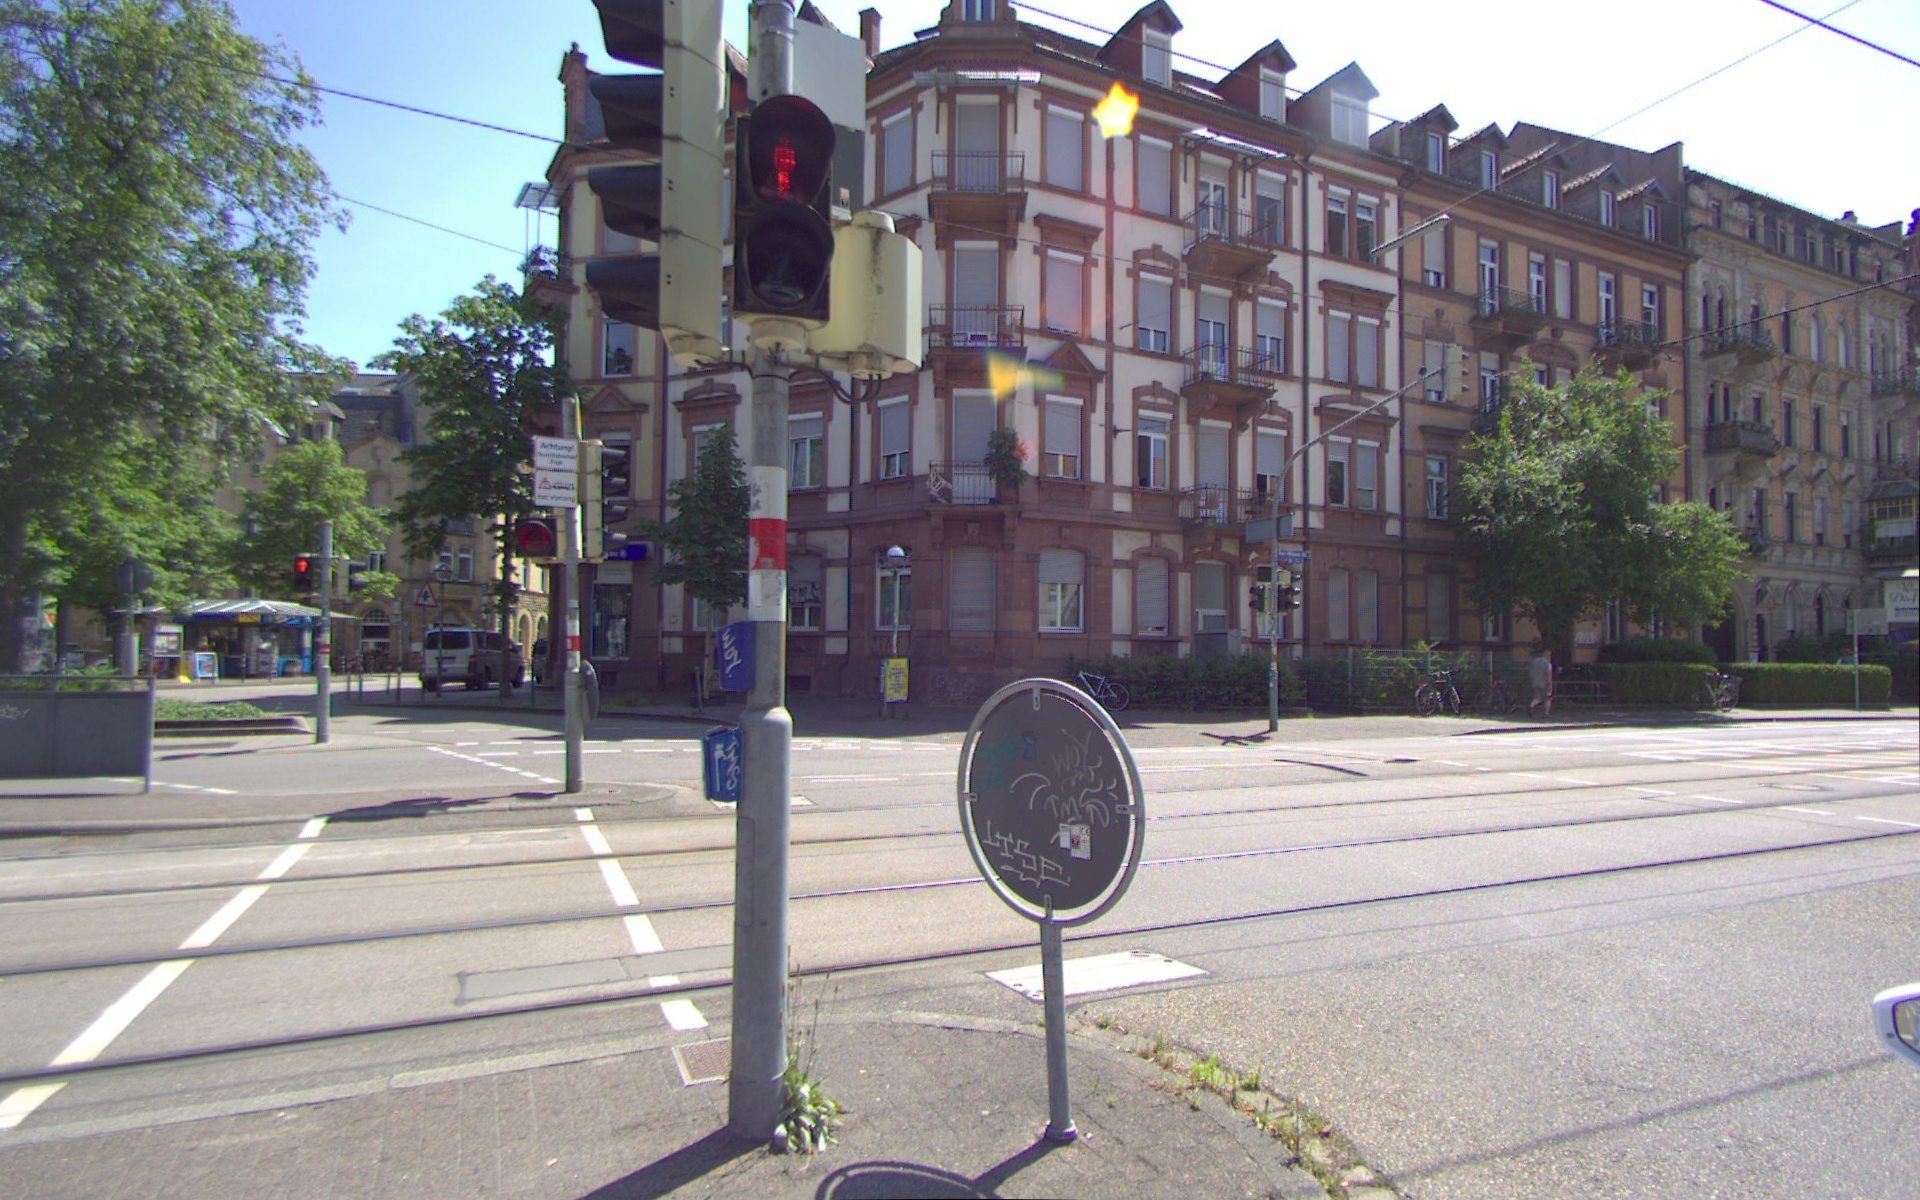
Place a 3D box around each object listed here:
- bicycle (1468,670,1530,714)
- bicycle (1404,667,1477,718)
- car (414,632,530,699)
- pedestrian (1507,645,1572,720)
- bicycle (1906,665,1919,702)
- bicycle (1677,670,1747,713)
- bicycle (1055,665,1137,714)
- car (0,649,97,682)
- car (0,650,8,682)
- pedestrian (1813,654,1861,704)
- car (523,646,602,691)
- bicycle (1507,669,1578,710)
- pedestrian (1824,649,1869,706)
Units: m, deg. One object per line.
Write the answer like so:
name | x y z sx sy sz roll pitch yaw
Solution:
bicycle | 13.288 2.258 24.752 1.542 1.069 0.458 2 -3 -23
bicycle | 11.383 2.175 23.810 1.691 1.184 0.572 2 -3 -22
car | -16.322 2.198 33.877 1.962 2.093 4.587 1 -3 -6
pedestrian | 13.749 1.944 23.852 0.997 1.722 0.871 1 -3 -19
bicycle | 33.396 2.869 34.037 0.561 1.244 1.863 2 -2 -27
bicycle | 20.390 2.457 27.239 1.903 1.108 0.637 2 -1 -22
bicycle | 3.197 2.088 23.640 1.885 1.122 0.467 -1 -3 13
car | -49.342 3.537 54.110 3.925 1.720 1.810 1 -3 -6
car | -53.788 3.543 53.636 3.925 1.720 1.810 1 -3 -6
pedestrian | 30.582 2.739 35.045 0.807 1.722 0.912 0 -3 2
car | -17.302 2.980 43.939 1.962 1.833 4.587 1 -3 -6
bicycle | 15.458 2.361 26.702 0.488 1.009 1.643 2 -3 -23
pedestrian | 29.911 2.612 33.900 0.800 1.881 0.879 -1 -3 17
